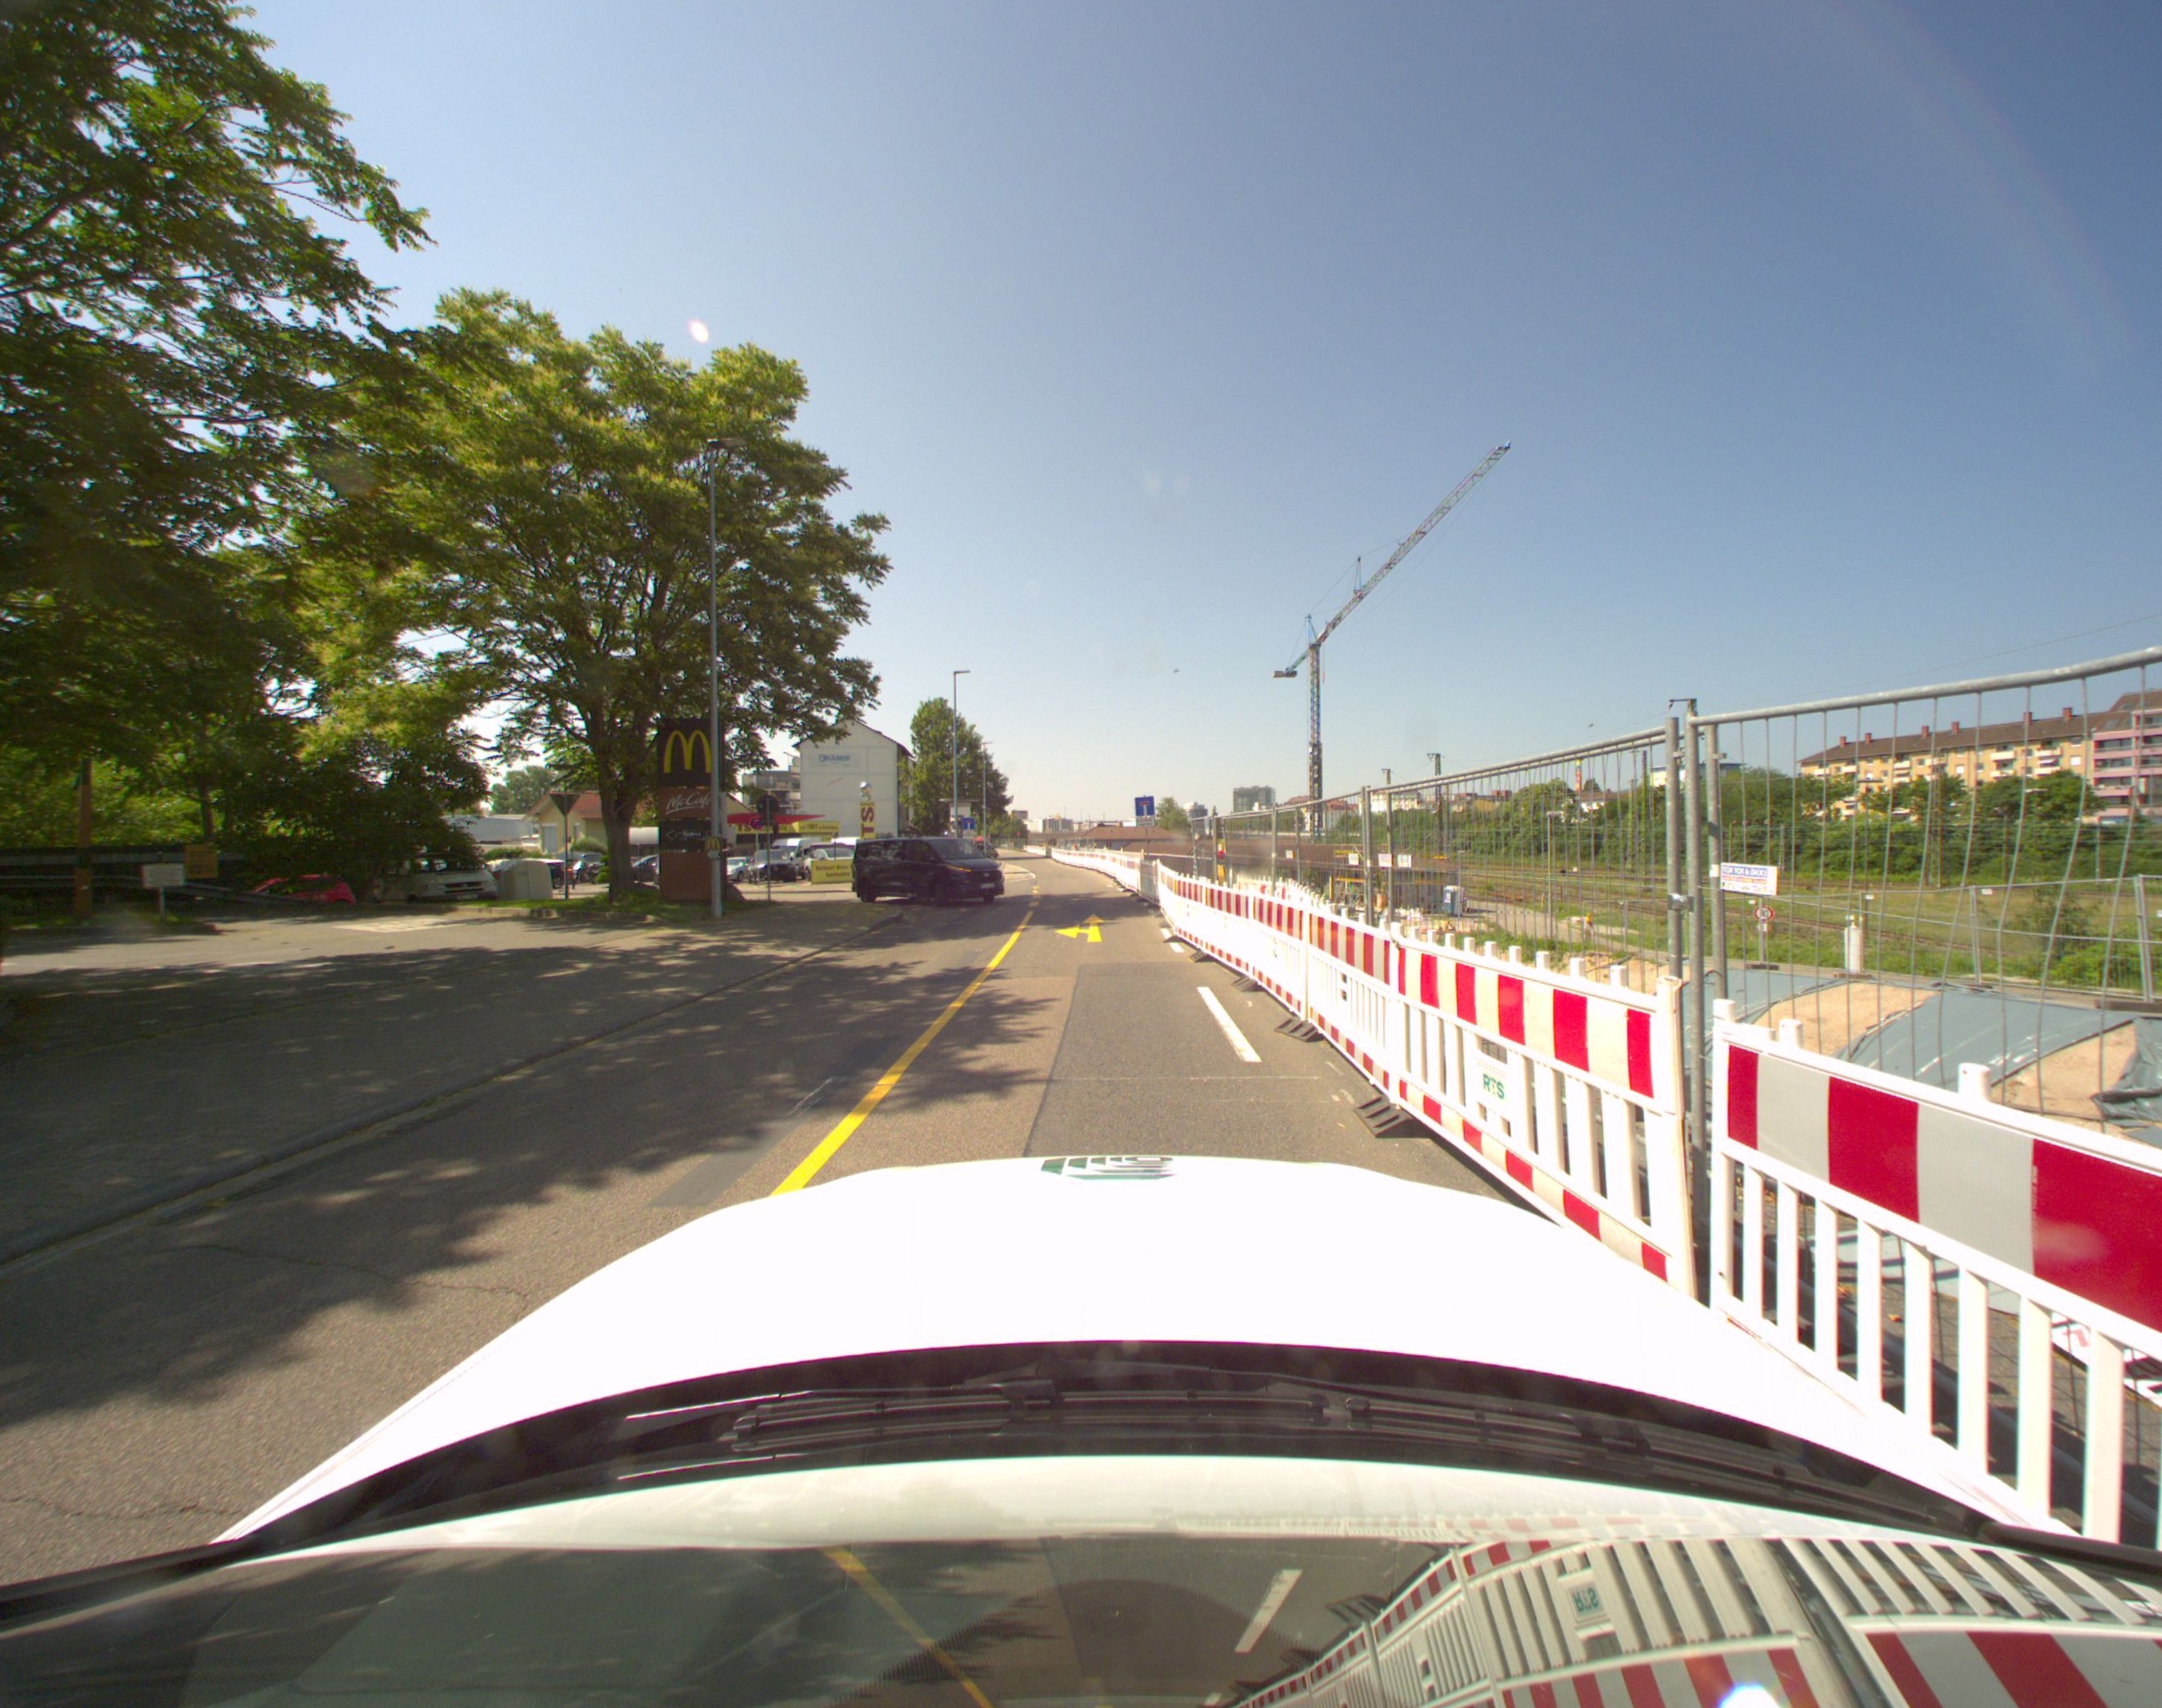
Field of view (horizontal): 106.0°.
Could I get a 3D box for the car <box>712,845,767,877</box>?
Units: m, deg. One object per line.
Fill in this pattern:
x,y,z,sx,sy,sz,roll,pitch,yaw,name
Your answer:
-22.939,0.464,54.833,1.989,2.014,4.490,0,0,-3,car

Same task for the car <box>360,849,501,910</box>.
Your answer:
-19.015,0.660,23.716,4.966,1.583,1.970,1,0,36,car

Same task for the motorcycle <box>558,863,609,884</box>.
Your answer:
-31.043,1.201,50.903,0.988,1.227,2.731,0,0,18,motorcycle

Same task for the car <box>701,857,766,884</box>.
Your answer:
-19.905,0.900,46.829,1.780,1.487,4.005,0,0,4,car

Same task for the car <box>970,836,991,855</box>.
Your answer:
-13.534,-1.160,110.067,2.532,2.520,5.111,0,0,-3,car

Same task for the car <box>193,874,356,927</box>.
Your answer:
-26.004,1.432,26.369,1.468,1.378,3.436,1,2,27,car

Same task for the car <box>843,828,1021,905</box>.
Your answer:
-4.502,0.383,24.062,5.374,1.967,2.198,-2,2,41,car

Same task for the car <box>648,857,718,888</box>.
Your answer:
-19.924,0.891,40.935,1.785,1.510,3.993,0,0,-5,car

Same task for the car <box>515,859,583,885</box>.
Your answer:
-34.452,1.150,52.749,3.950,1.585,2.012,0,0,27,car

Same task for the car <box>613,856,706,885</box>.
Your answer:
-23.949,0.889,46.350,4.358,1.585,1.976,0,0,-42,car

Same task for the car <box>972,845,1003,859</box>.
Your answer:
-11.040,-0.229,96.249,3.300,1.637,1.705,0,0,-45,car

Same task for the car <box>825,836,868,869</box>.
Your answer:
-17.009,-0.141,59.318,2.132,2.284,4.703,-1,0,-5,car

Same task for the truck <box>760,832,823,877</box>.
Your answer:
-19.670,0.026,55.660,2.262,2.903,5.941,0,0,-1,truck

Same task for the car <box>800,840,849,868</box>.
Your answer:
-16.685,0.005,53.289,1.873,1.738,4.718,0,0,-2,car

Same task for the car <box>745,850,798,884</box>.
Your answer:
-15.419,0.613,40.463,2.057,1.594,4.385,0,0,-27,car

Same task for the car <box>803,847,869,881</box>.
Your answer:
-12.862,0.501,42.594,2.010,1.725,3.954,0,0,-38,car
